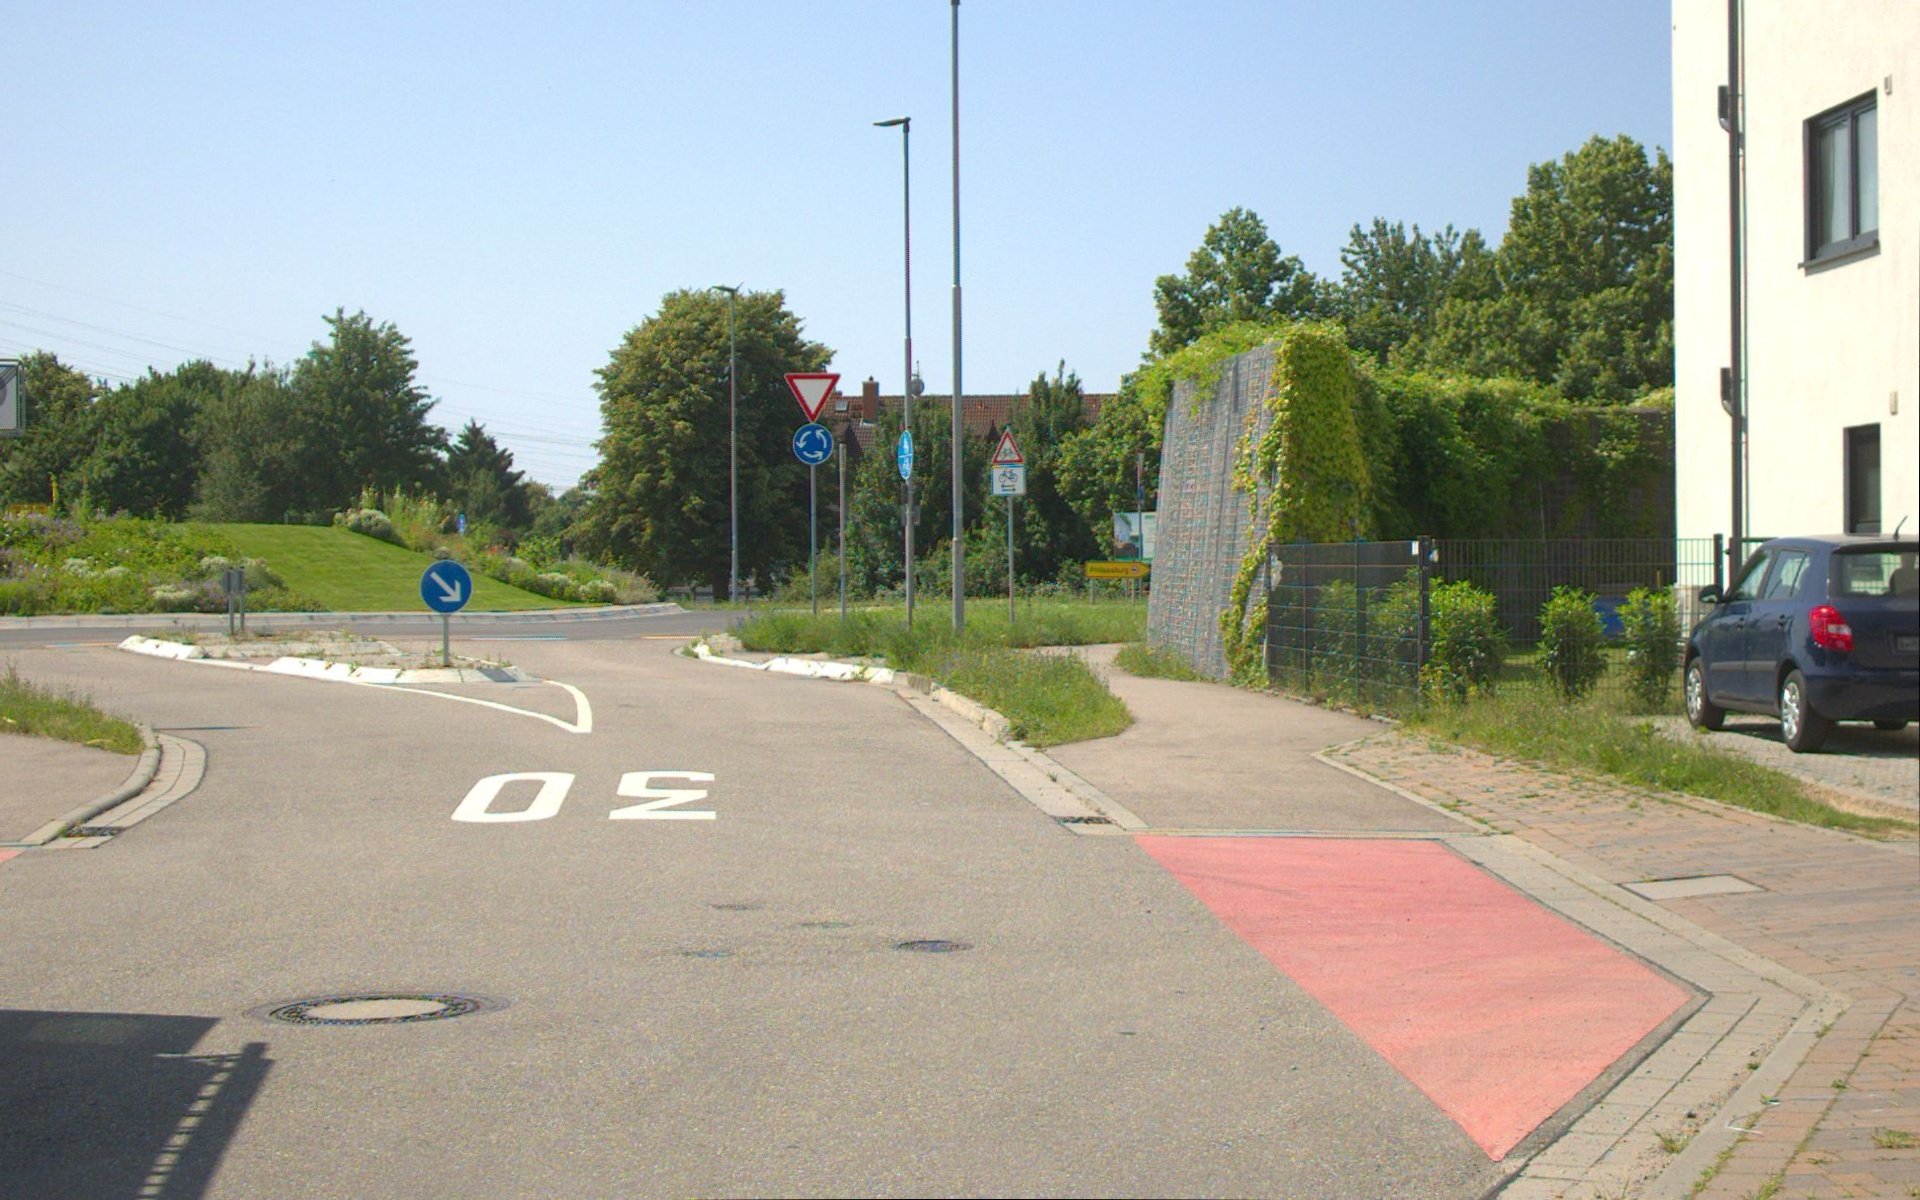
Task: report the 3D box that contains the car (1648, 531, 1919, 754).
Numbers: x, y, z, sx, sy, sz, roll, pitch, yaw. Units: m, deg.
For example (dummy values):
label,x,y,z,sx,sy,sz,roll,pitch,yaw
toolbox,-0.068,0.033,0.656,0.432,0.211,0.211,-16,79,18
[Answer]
label,x,y,z,sx,sy,sz,roll,pitch,yaw
car,6.387,0.248,25.030,1.677,1.464,4.117,1,1,-3
